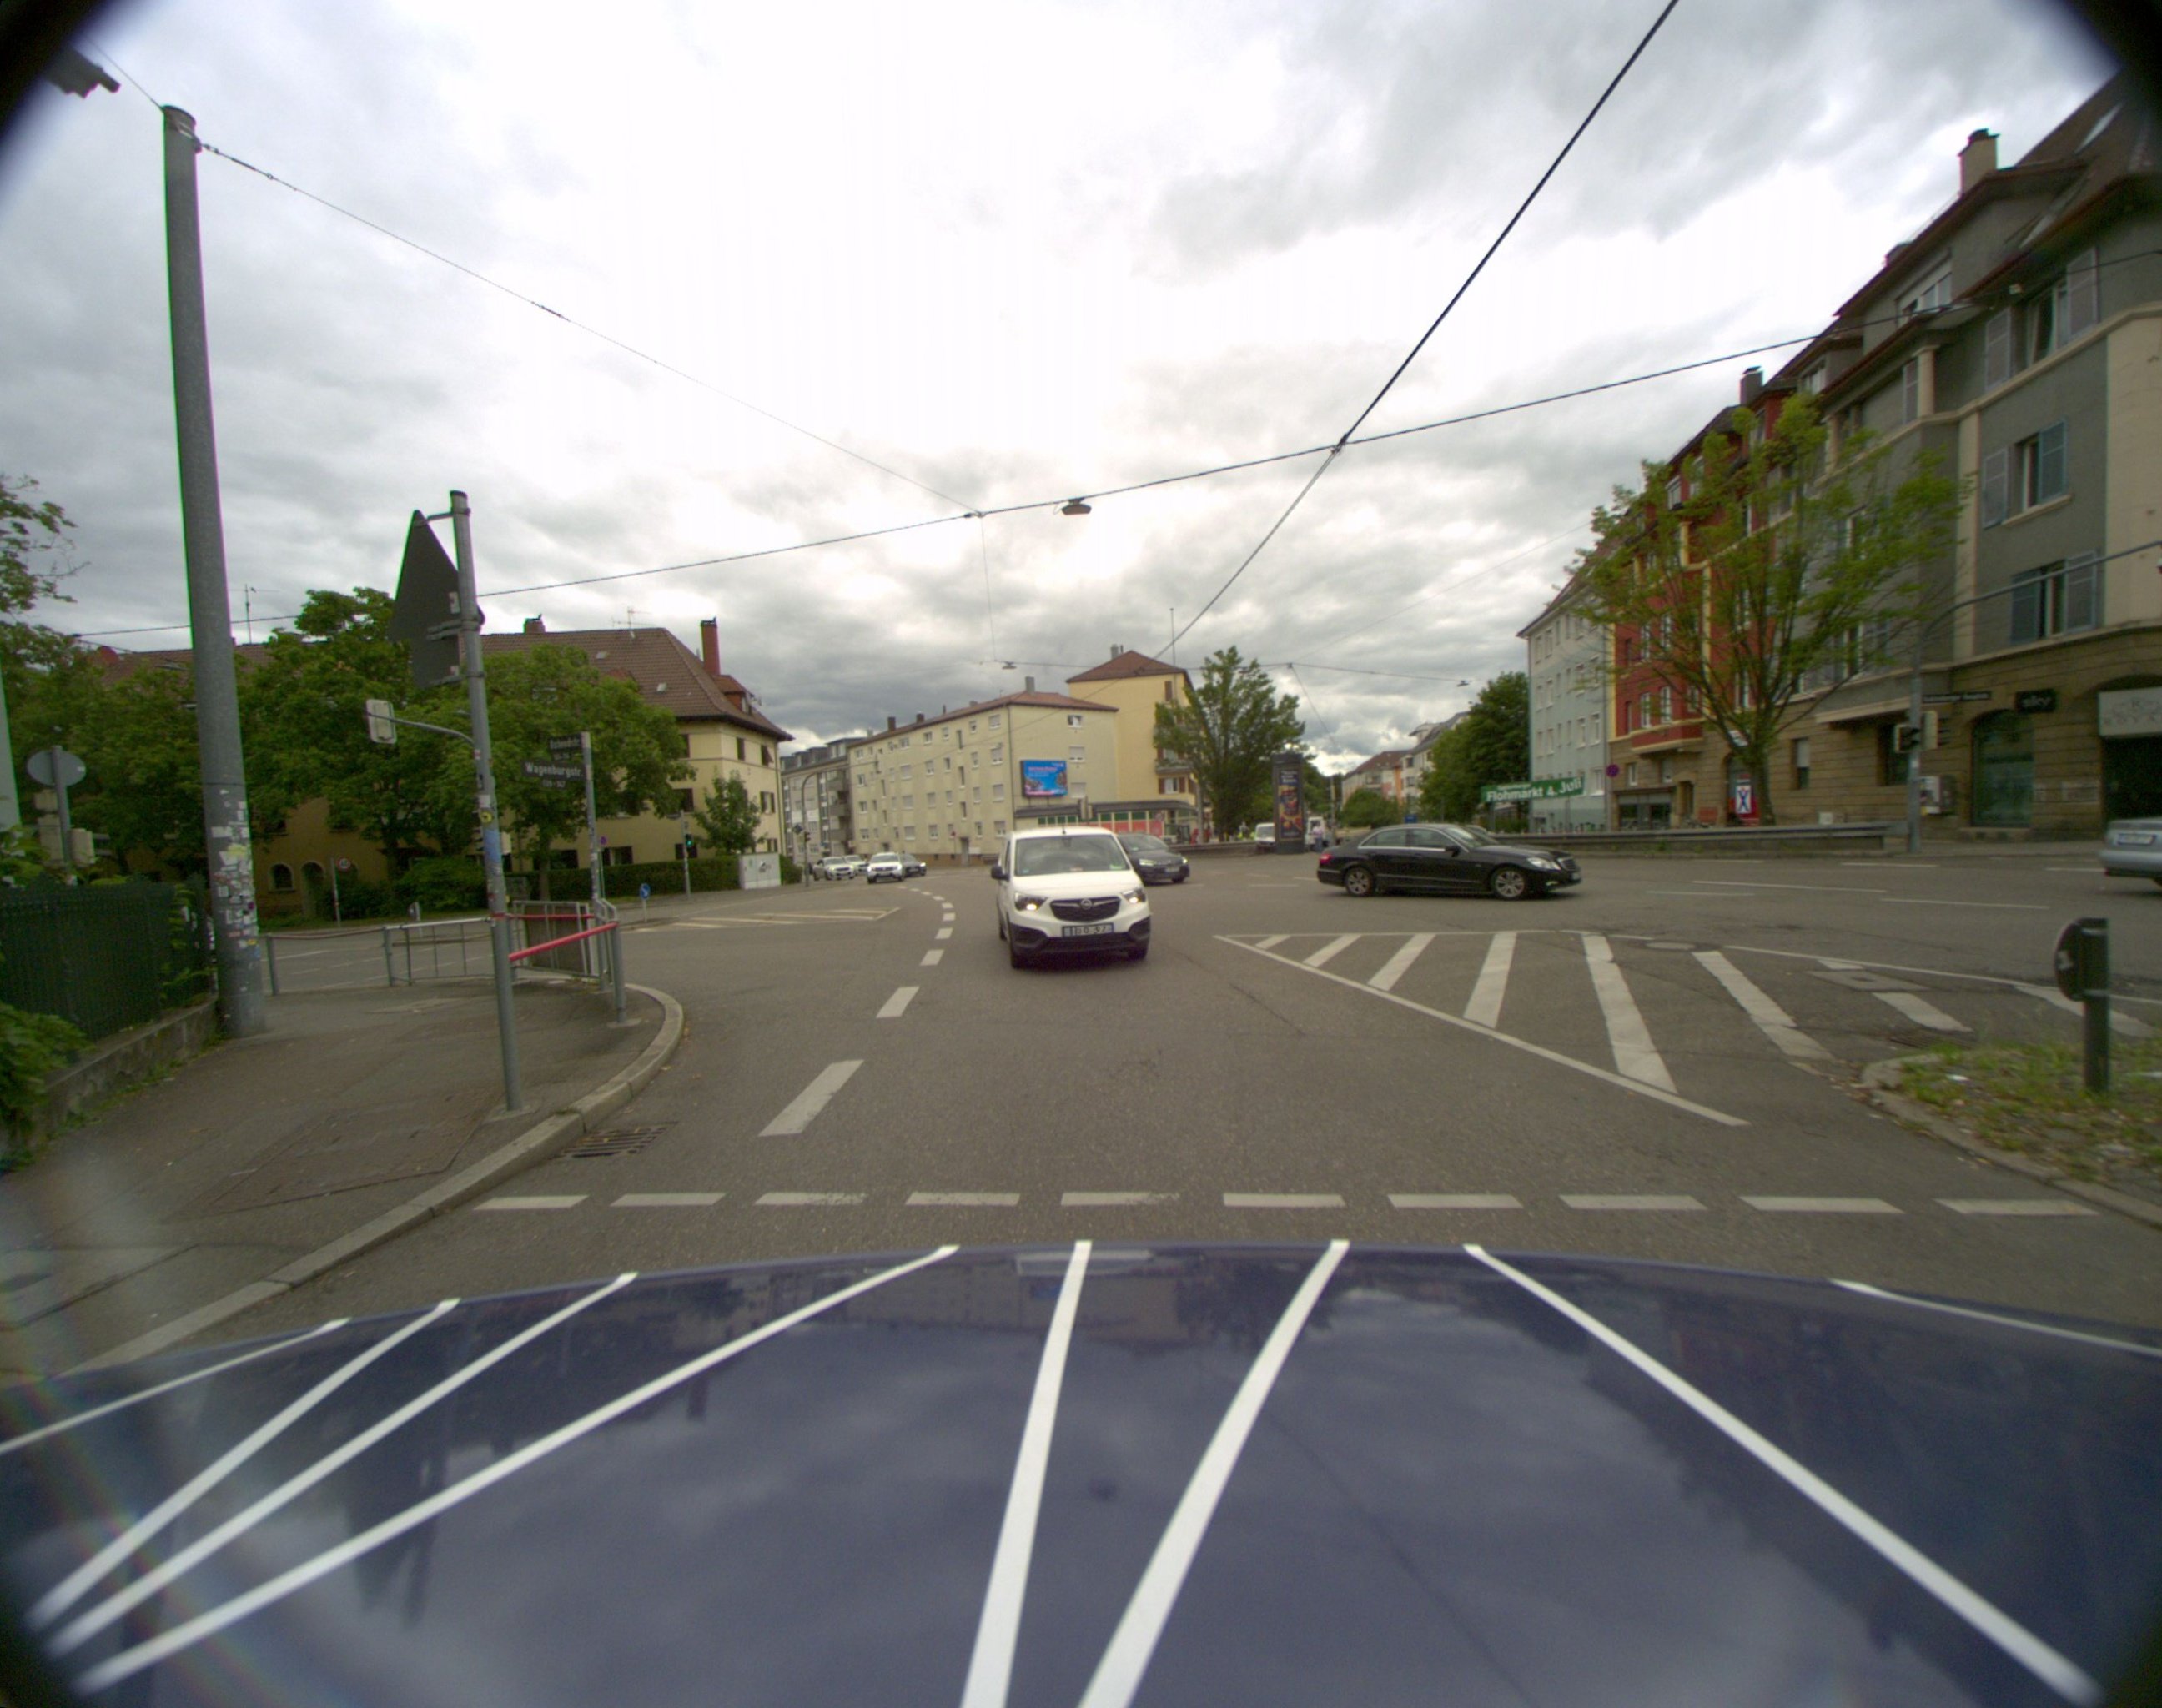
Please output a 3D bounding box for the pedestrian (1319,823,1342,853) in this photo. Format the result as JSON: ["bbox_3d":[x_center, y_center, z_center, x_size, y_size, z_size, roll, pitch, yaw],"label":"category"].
[{"bbox_3d":[11.206,-0.720,34.125,0.664,1.334,0.627,-5,3,-27],"label":"pedestrian"}]

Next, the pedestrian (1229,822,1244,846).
[{"bbox_3d":[11.371,-1.471,55.652,0.867,1.610,1.213,-3,3,19],"label":"pedestrian"}]

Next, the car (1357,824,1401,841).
[{"bbox_3d":[32.271,-2.322,82.296,3.922,1.590,1.896,-1,3,43],"label":"car"}]

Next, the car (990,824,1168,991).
[{"bbox_3d":[-0.283,0.579,11.148,1.859,1.799,4.725,-4,1,-8],"label":"car"}]

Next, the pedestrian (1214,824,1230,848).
[{"bbox_3d":[9.852,-1.264,52.987,0.867,1.610,0.919,-3,3,18],"label":"pedestrian"}]

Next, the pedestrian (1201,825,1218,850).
[{"bbox_3d":[8.608,-1.099,50.923,0.867,1.610,0.919,-3,3,18],"label":"pedestrian"}]

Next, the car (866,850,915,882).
[{"bbox_3d":[-9.796,0.605,39.304,1.909,1.470,3.885,-3,0,-7],"label":"car"}]

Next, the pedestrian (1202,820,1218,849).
[{"bbox_3d":[7.362,-1.108,43.486,0.606,1.610,0.553,-5,3,-29],"label":"pedestrian"}]

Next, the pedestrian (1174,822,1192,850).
[{"bbox_3d":[6.021,-1.081,44.872,0.773,1.610,0.648,-6,4,-37],"label":"pedestrian"}]

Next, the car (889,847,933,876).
[{"bbox_3d":[-10.230,0.485,45.401,2.041,1.541,4.029,-4,0,-19],"label":"car"}]

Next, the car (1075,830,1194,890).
[{"bbox_3d":[1.566,0.179,24.191,1.860,1.605,4.720,-5,1,-21],"label":"car"}]

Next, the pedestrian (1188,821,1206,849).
[{"bbox_3d":[6.749,-1.100,44.224,0.770,1.610,0.651,-1,4,37],"label":"pedestrian"}]

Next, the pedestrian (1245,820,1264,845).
[{"bbox_3d":[13.914,-1.732,60.914,0.929,1.948,1.265,-5,3,-18],"label":"pedestrian"}]

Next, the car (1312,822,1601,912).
[{"bbox_3d":[7.164,0.212,14.951,1.845,1.412,4.726,-6,3,-40],"label":"car"}]

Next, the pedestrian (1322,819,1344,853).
[{"bbox_3d":[11.101,-0.789,33.460,0.605,1.424,0.600,-5,3,-27],"label":"pedestrian"}]

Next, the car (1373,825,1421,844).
[{"bbox_3d":[30.764,-1.881,74.016,3.922,1.590,1.896,-1,3,43],"label":"car"}]

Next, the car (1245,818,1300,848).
[{"bbox_3d":[11.831,-1.343,46.752,2.207,1.563,4.483,-2,3,28],"label":"car"}]

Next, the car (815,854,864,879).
[{"bbox_3d":[-16.604,0.862,52.150,1.957,1.541,4.026,-4,0,-36],"label":"car"}]

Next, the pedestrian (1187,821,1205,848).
[{"bbox_3d":[6.925,-1.175,45.754,0.773,1.610,0.648,-5,3,-32],"label":"pedestrian"}]

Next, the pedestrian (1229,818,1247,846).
[{"bbox_3d":[9.292,-1.295,45.073,0.770,1.610,0.651,-2,3,33],"label":"pedestrian"}]

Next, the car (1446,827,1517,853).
[{"bbox_3d":[27.990,-0.950,53.231,1.896,1.590,3.922,-6,3,-39],"label":"car"}]

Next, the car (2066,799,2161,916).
[{"bbox_3d":[15.283,-0.061,8.900,4.257,1.335,1.709,-3,3,27],"label":"car"}]

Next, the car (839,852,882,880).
[{"bbox_3d":[-17.386,0.892,59.784,2.003,2.003,4.259,-5,3,-32],"label":"car"}]

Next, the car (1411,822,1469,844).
[{"bbox_3d":[29.610,-1.691,62.718,3.922,1.590,1.896,-1,3,43],"label":"car"}]

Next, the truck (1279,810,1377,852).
[{"bbox_3d":[17.349,-1.633,53.206,6.465,2.707,2.766,-2,1,-28],"label":"truck"}]

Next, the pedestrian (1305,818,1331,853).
[{"bbox_3d":[10.852,-0.848,34.832,0.707,1.574,0.801,-5,3,-28],"label":"pedestrian"}]

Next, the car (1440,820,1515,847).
[{"bbox_3d":[26.399,-1.323,50.680,1.896,1.590,3.922,-6,3,-39],"label":"car"}]

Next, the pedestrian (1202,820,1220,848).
[{"bbox_3d":[7.704,-1.195,45.069,0.772,1.610,0.649,-4,3,-11],"label":"pedestrian"}]
